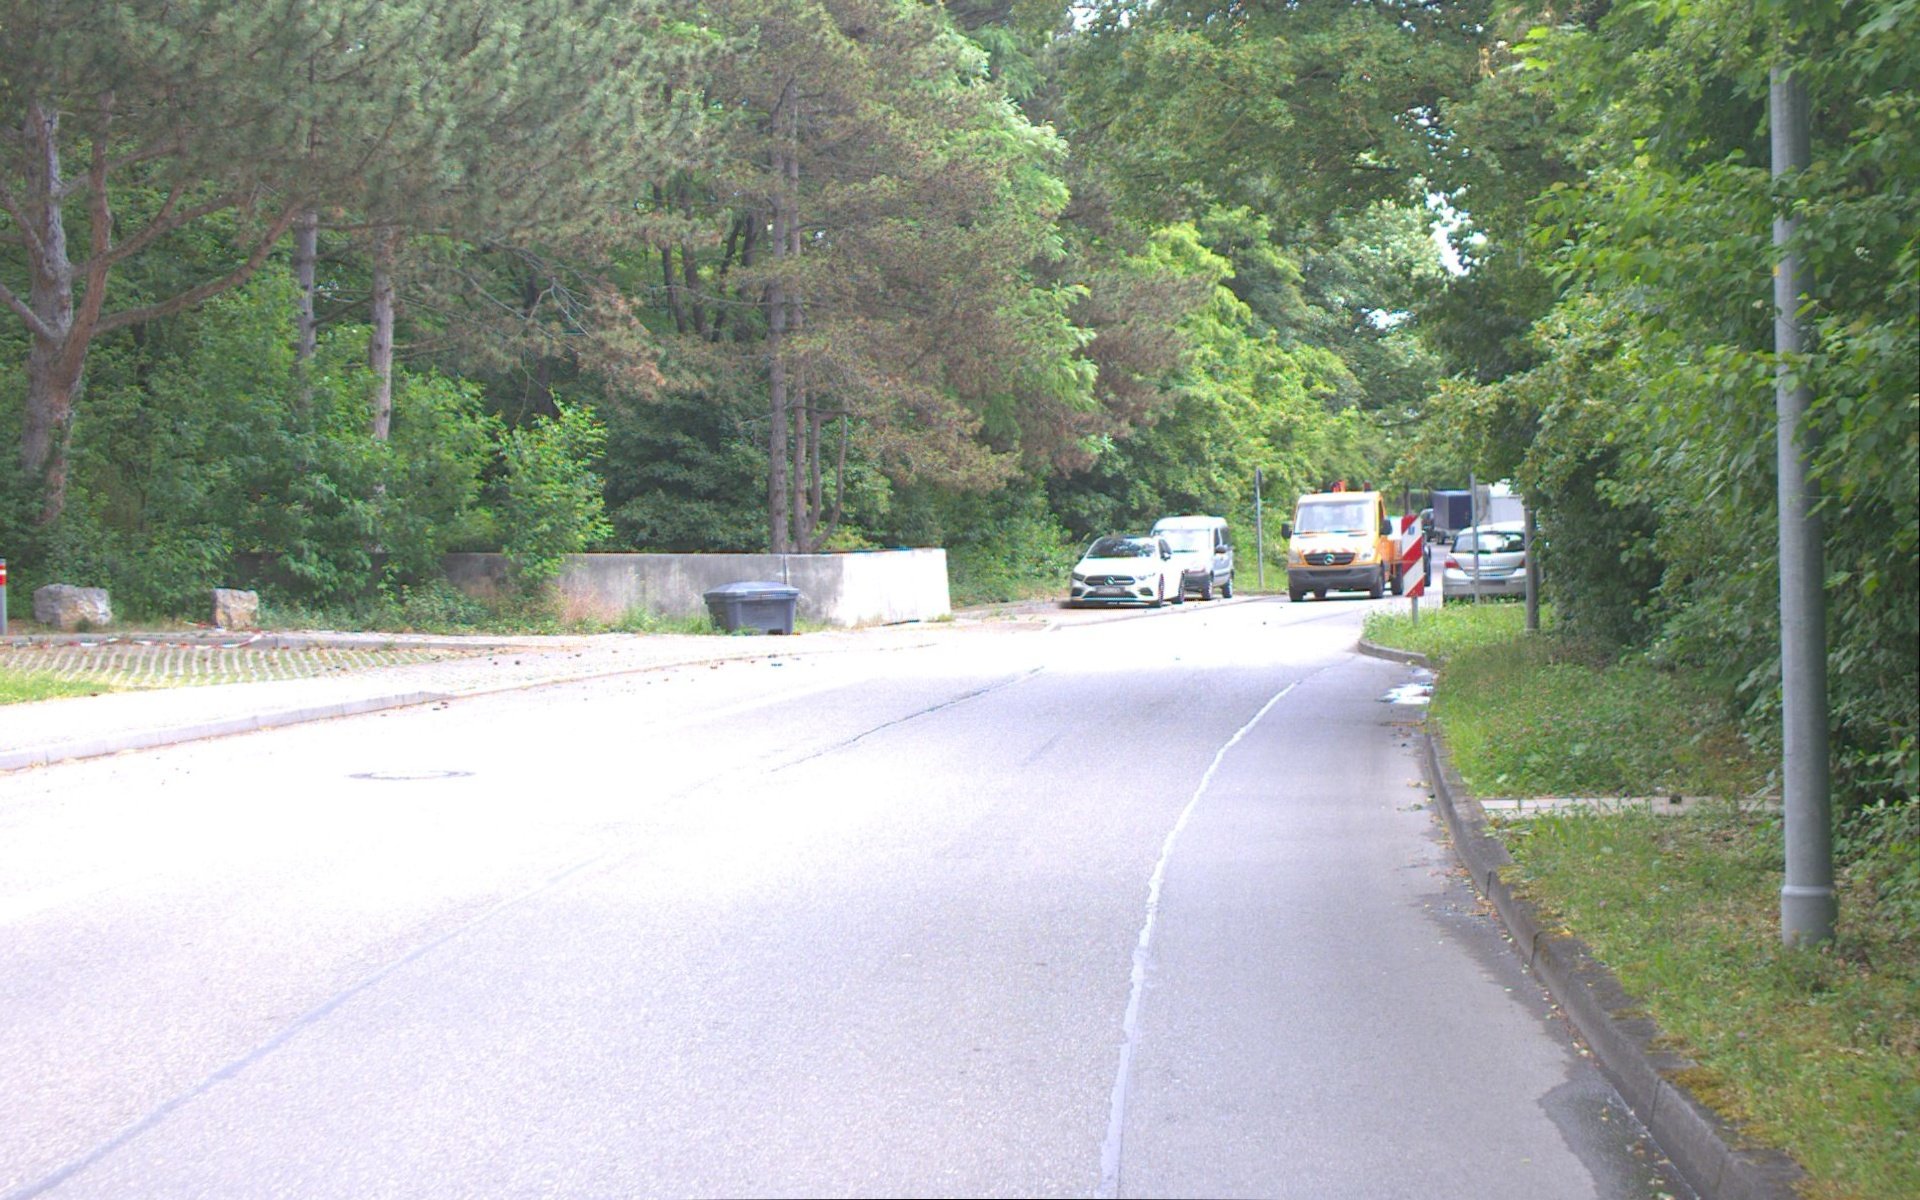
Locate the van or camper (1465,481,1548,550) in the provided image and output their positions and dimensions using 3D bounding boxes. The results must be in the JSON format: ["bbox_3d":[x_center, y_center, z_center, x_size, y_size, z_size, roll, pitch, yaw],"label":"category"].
[{"bbox_3d":[23.522,-3.626,148.192,2.482,2.866,6.890,-2,1,1],"label":"van or camper"}]

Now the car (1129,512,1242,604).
[{"bbox_3d":[4.980,-0.949,75.527,1.722,1.915,4.102,1,2,15],"label":"car"}]

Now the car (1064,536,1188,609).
[{"bbox_3d":[3.365,-0.574,68.940,1.806,1.398,4.370,0,1,12],"label":"car"}]

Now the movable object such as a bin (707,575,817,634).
[{"bbox_3d":[-2.629,0.059,45.637,1.143,0.758,1.049,1,0,-24],"label":"movable object such as a bin"}]

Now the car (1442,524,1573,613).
[{"bbox_3d":[9.347,-0.558,58.498,1.794,1.406,4.056,-2,1,14],"label":"car"}]

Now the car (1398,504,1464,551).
[{"bbox_3d":[22.562,-3.498,164.855,1.993,2.019,4.001,-5,3,-8],"label":"car"}]

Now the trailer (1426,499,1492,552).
[{"bbox_3d":[23.114,-3.445,159.378,1.993,2.390,4.001,-2,1,-7],"label":"trailer"}]

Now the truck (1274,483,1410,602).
[{"bbox_3d":[8.324,-1.284,74.438,2.323,2.461,6.017,1,2,12],"label":"truck"}]
